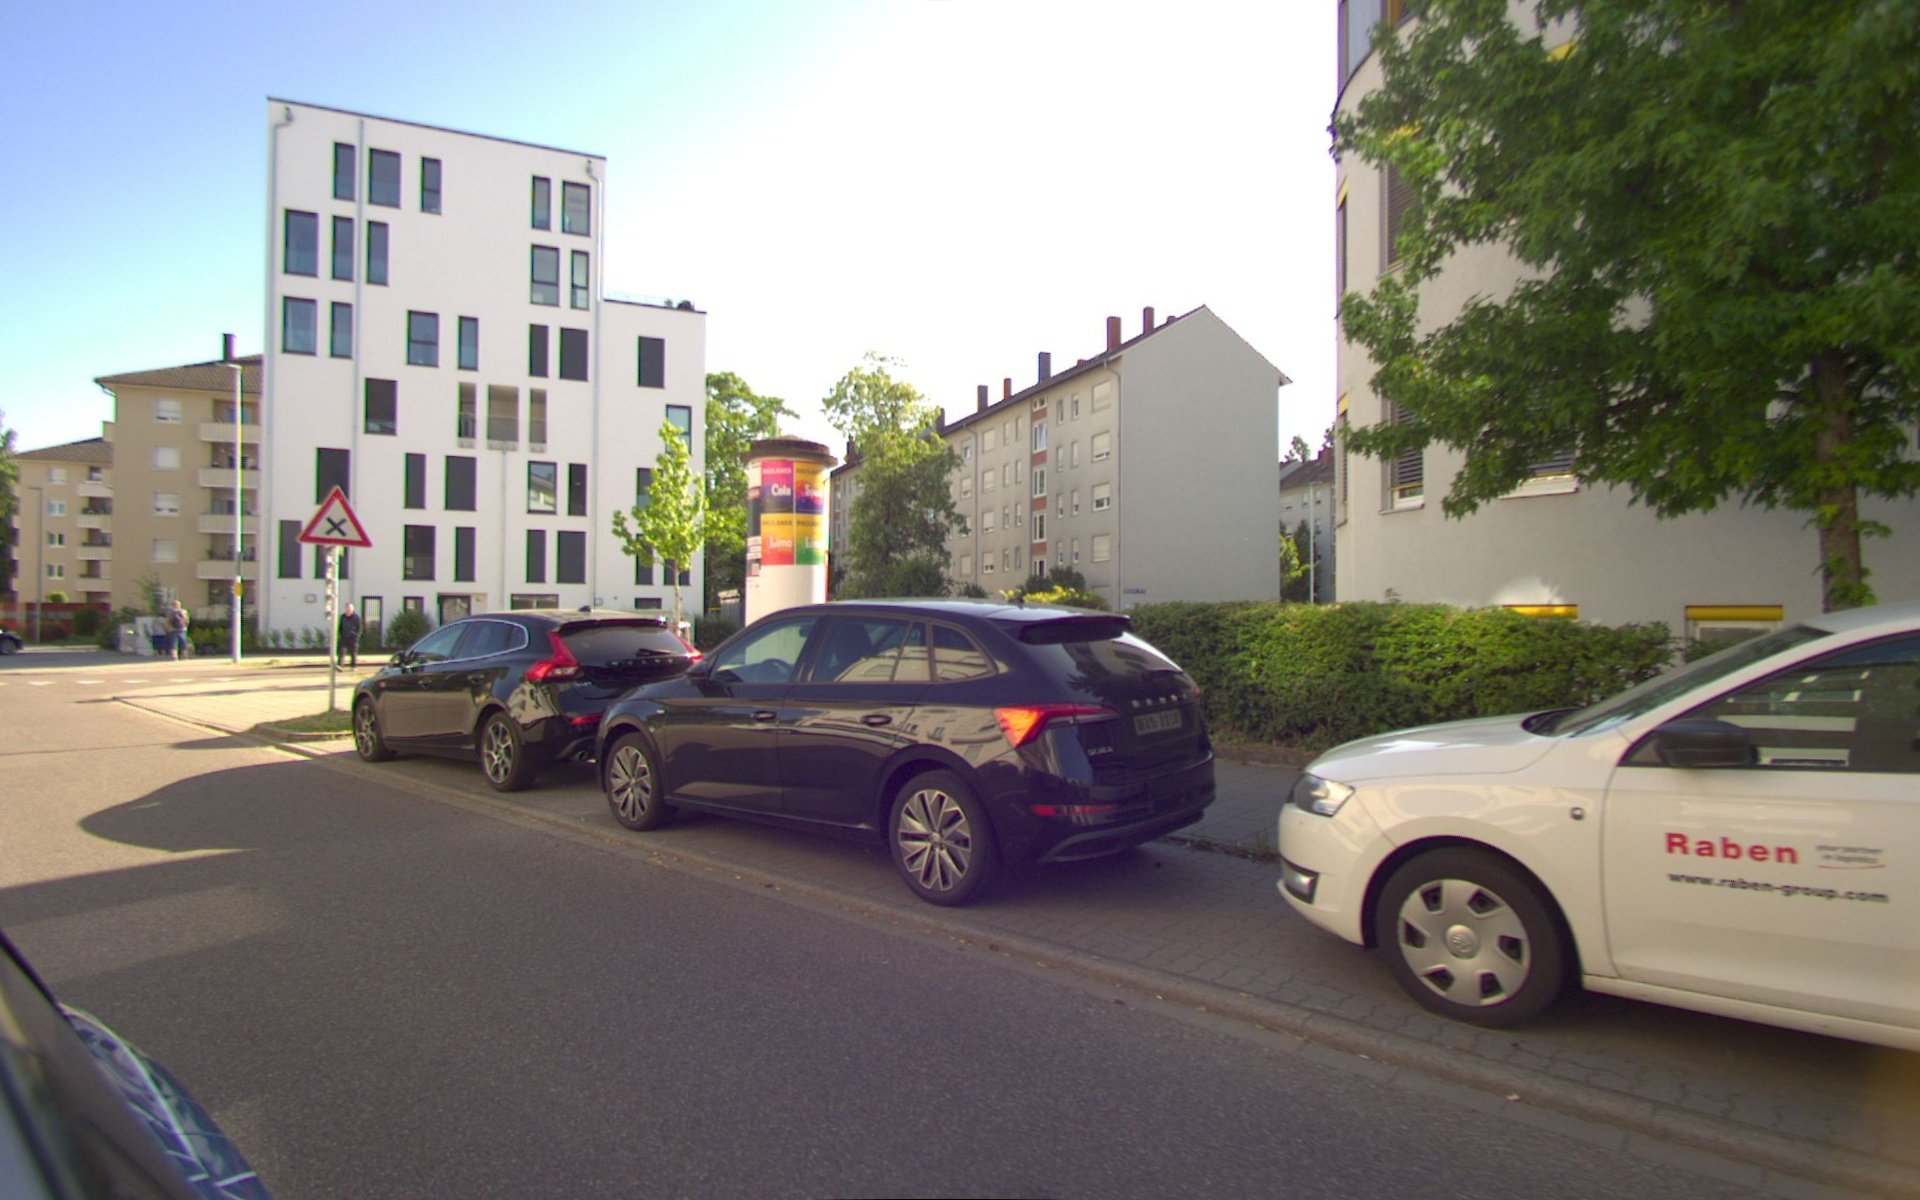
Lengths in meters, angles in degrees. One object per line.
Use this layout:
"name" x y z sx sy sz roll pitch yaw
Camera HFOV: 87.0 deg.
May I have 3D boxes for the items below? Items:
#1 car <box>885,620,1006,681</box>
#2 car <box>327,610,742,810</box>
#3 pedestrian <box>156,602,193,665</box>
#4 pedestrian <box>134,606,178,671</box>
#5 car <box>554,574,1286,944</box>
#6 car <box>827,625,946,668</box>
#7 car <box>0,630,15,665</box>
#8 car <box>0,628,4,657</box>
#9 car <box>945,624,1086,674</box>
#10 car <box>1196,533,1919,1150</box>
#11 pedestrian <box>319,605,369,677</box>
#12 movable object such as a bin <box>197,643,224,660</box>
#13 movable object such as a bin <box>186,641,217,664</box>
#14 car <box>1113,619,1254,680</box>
"car" -0.484 1.331 27.719 1.699 1.503 4.115 2 -2 -26
"car" -4.032 0.835 9.277 4.219 1.421 1.771 -1 -2 40
"pedestrian" -24.224 1.013 31.215 0.778 1.899 0.849 2 0 -34
"pedestrian" -26.485 1.263 33.351 0.951 2.137 0.770 -1 -1 20
"car" -0.482 0.676 6.227 4.376 1.490 1.889 -1 -2 40
"car" -2.672 1.699 36.872 3.930 1.431 1.678 2 0 -26
"car" -41.561 1.932 40.972 1.979 1.442 4.547 -1 -2 12
"car" -39.621 1.696 38.445 1.979 1.176 4.547 -1 -1 12
"car" 1.436 1.360 28.326 1.699 1.284 4.901 2 -3 -27
"car" 3.255 0.620 3.061 4.620 1.541 1.889 -1 -2 40
"pedestrian" -15.223 1.012 25.022 0.962 1.727 0.876 1 -2 -27
"movable object such as a bin" -25.367 1.747 34.250 0.676 0.546 0.272 1 -2 -3
"movable object such as a bin" -24.455 1.690 32.632 0.839 0.685 0.272 1 -1 8
"car" 6.707 1.505 30.880 1.965 1.712 4.306 2 -3 -26
